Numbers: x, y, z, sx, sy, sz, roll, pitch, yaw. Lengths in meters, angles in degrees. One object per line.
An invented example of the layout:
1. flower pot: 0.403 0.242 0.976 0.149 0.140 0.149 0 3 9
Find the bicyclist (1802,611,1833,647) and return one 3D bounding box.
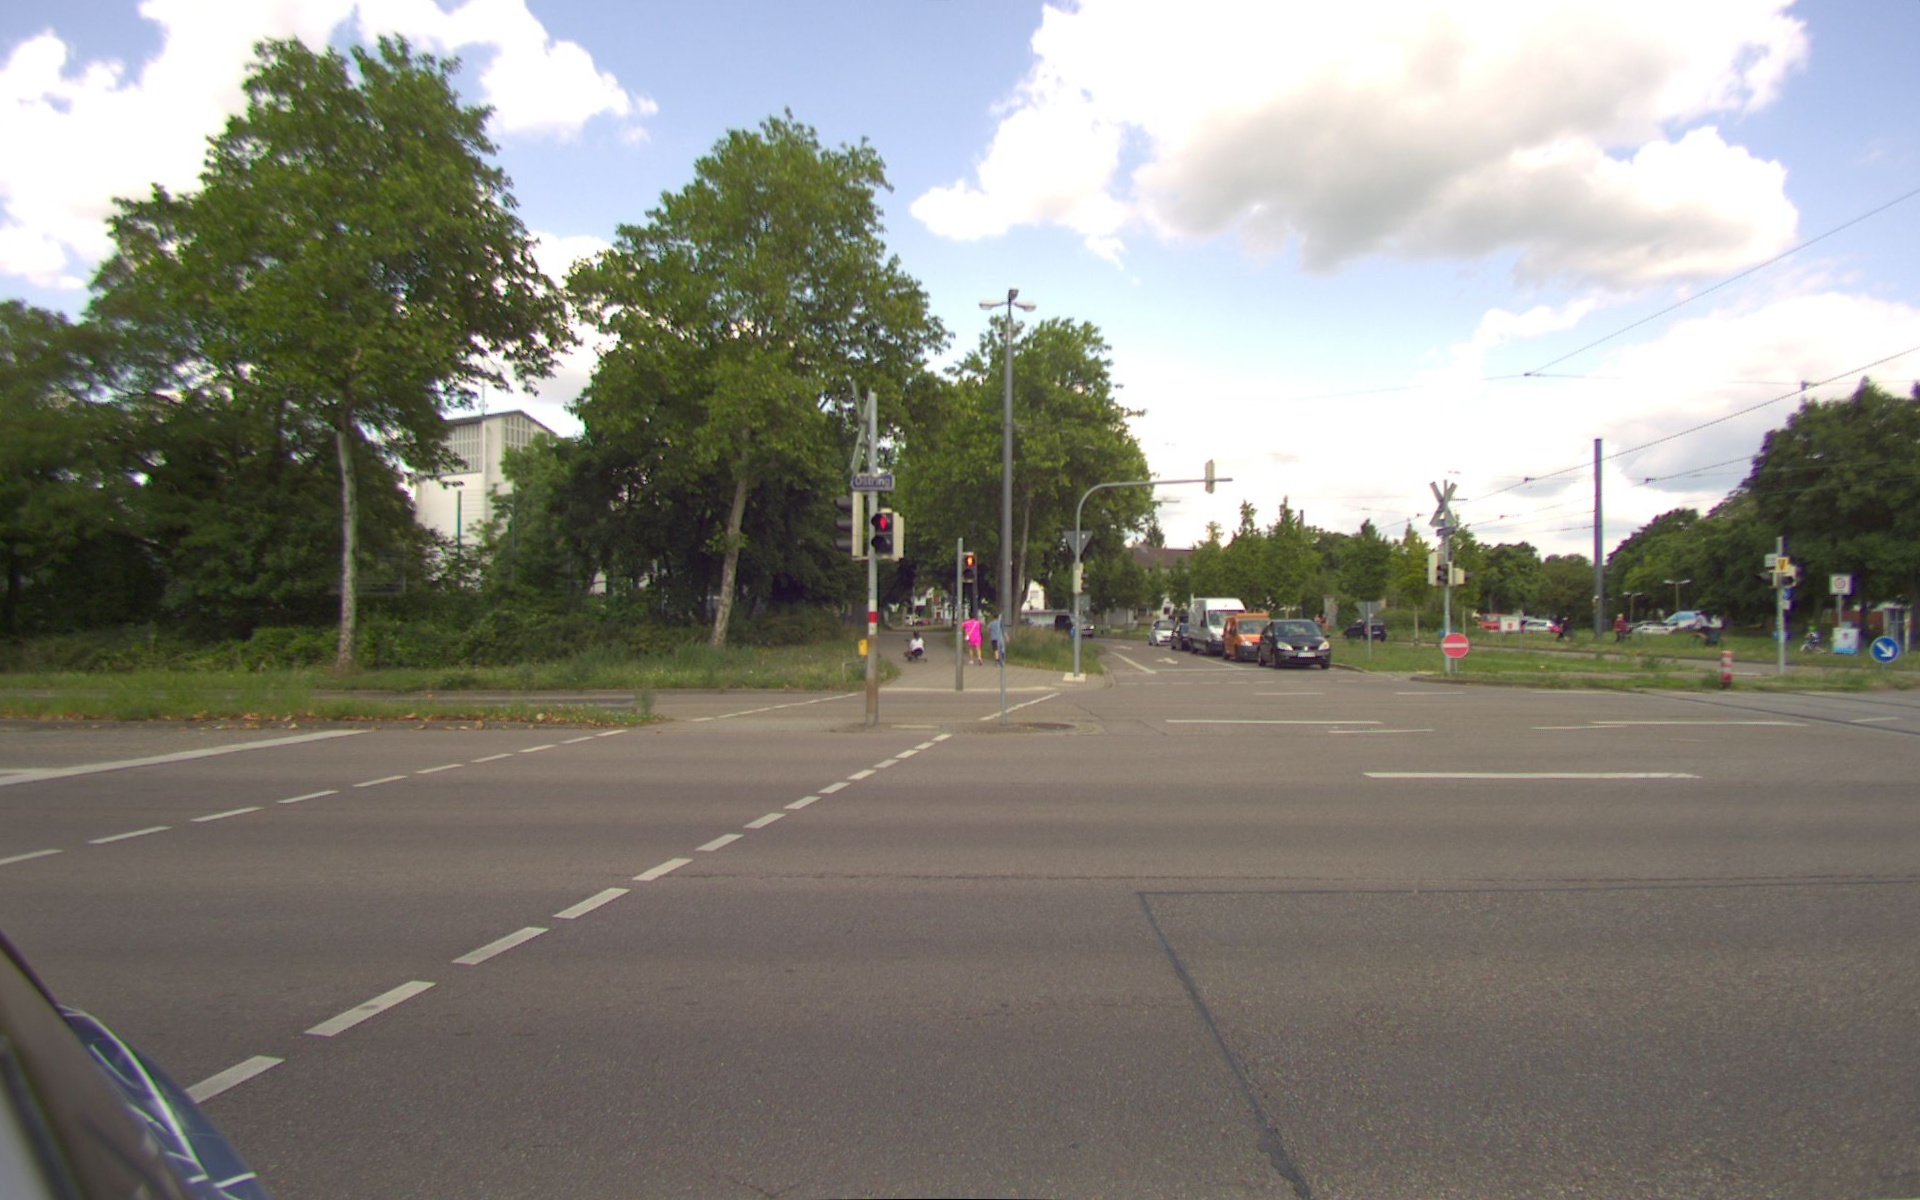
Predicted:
1. bicyclist: 36.184 1.214 42.713 0.948 1.500 0.837 1 -2 -39

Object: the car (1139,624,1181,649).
1. car: 11.851 2.162 60.234 1.788 1.442 4.378 0 -1 3

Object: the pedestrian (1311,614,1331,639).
1. pedestrian: 30.488 2.236 85.461 1.089 2.029 1.179 0 -1 -8

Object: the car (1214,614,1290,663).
1. car: 11.211 1.457 39.143 1.860 1.813 4.365 0 -1 4

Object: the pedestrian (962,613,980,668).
1. pedestrian: 0.328 1.195 30.164 0.417 1.631 0.594 -1 -1 11

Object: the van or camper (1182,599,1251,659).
1. van or camper: 11.531 1.300 45.896 1.956 2.544 6.029 0 -2 4

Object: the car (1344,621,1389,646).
1. car: 27.126 2.200 67.656 1.705 1.629 3.993 0 -1 5

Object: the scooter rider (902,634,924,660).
1. scooter rider: -1.390 1.404 30.203 0.603 0.734 0.859 -2 -1 0

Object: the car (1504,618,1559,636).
1. car: 49.286 2.322 87.352 3.982 1.541 1.981 -1 -2 28

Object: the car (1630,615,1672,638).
1. car: 50.472 1.935 73.997 1.990 1.652 4.349 -1 -2 27

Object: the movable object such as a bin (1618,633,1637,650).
1. movable object such as a bin: 32.838 2.047 49.784 0.569 0.817 0.461 -2 -2 -11

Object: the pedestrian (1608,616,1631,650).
1. pedestrian: 32.730 1.649 50.256 0.603 1.657 0.640 -2 -2 -12

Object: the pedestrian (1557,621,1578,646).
1. pedestrian: 33.953 1.879 56.572 0.642 1.364 0.752 -2 -2 2

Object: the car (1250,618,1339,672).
1. car: 10.782 1.420 32.895 1.713 1.643 4.048 0 -1 4

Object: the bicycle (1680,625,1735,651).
1. bicycle: 35.018 1.765 47.455 0.937 1.163 1.987 0 -1 -6

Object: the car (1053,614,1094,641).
1. car: 9.149 2.208 81.744 1.824 2.172 4.394 0 -1 -14

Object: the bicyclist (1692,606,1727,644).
1. bicyclist: 35.032 1.178 47.323 0.948 1.735 0.837 0 -1 -5

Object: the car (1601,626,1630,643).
1. car: 65.735 3.407 101.475 1.990 1.652 4.349 -1 -2 27

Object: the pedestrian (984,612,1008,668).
1. pedestrian: 1.071 1.187 30.148 0.626 1.631 0.608 -1 -1 11

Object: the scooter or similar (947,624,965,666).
1. scooter or similar: -0.112 1.353 30.391 0.319 1.241 0.772 -2 -2 13

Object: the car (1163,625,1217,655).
1. car: 11.770 2.012 52.026 1.787 1.442 4.467 0 -1 1

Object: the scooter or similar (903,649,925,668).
1. scooter or similar: -1.376 1.735 30.196 0.603 0.515 0.858 -2 -1 0

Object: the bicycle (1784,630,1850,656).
1. bicycle: 36.164 1.790 42.721 0.936 1.048 1.988 1 -2 -39
